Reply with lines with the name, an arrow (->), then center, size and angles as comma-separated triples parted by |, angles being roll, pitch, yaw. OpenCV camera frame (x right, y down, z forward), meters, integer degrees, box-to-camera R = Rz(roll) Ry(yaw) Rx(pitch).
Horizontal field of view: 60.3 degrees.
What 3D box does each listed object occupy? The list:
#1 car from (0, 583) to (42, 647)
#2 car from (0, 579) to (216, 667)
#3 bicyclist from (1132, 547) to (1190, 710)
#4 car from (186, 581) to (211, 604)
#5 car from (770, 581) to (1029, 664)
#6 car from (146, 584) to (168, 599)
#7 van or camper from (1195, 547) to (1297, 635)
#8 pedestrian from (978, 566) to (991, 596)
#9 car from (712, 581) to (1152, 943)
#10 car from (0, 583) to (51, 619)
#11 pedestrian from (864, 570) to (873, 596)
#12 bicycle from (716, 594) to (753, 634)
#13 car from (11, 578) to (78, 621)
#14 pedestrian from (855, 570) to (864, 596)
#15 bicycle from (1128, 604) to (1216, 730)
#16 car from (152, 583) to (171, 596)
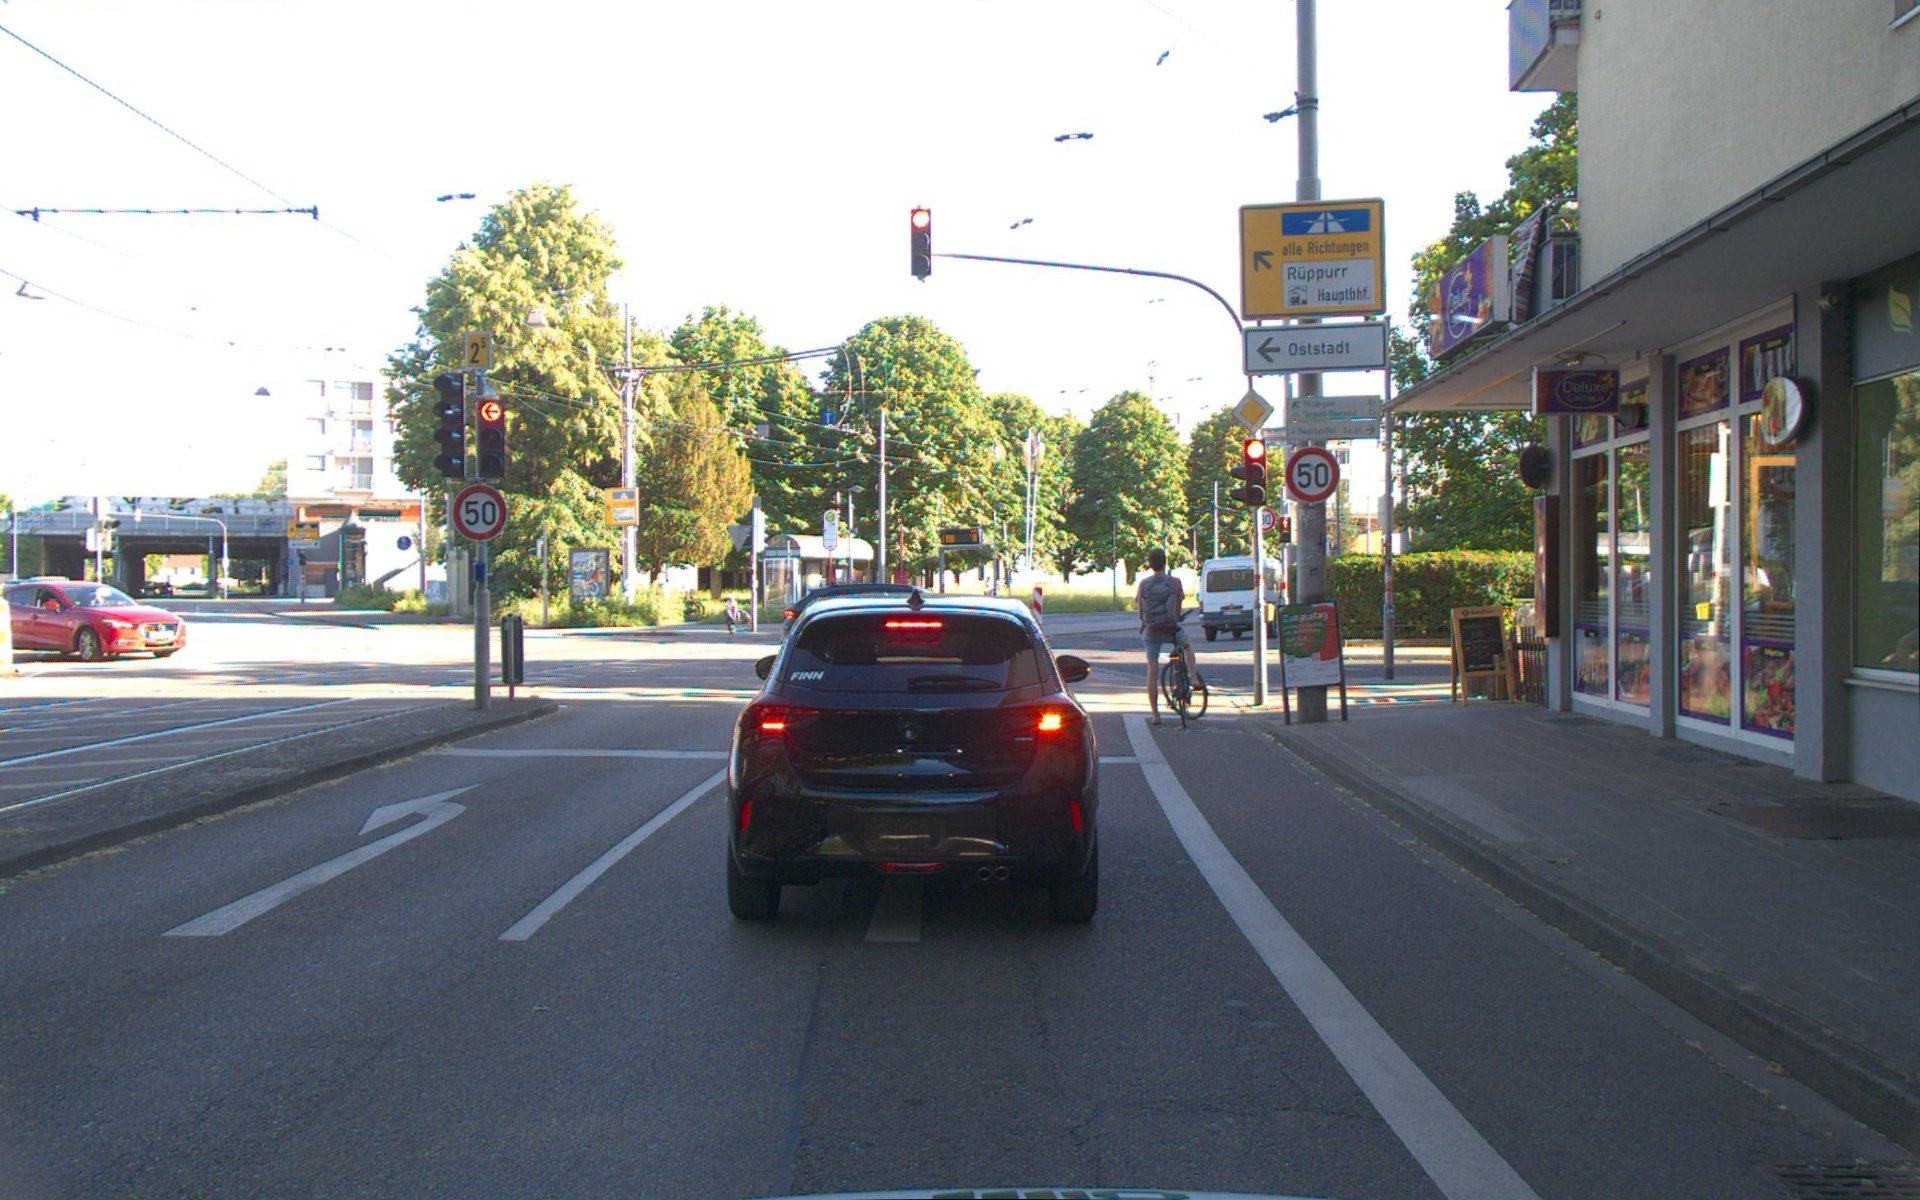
car -> -25.194, 0.352, 40.667 | 1.961, 1.579, 4.174 | 1, 0, 40
car -> -16.804, 0.398, 31.825 | 4.384, 1.592, 2.023 | 0, 1, 21
bicyclist -> 2.167, 0.295, 17.814 | 0.522, 1.722, 0.568 | 0, 0, 16
car -> -59.251, -0.570, 128.776 | 1.732, 1.713, 3.712 | 1, 0, -25
car -> -1.067, 0.390, 30.881 | 4.626, 1.499, 1.941 | 0, 1, 4
car -> -72.528, -0.772, 149.403 | 1.562, 1.282, 3.394 | -1, 1, -30
van or camper -> 8.085, -0.224, 46.465 | 1.987, 2.351, 4.540 | 1, 0, 20
pedestrian -> 1.551, -1.185, 105.479 | 0.597, 1.904, 0.514 | 1, -1, -31
car -> -0.142, 0.649, 8.803 | 1.803, 1.487, 3.983 | 0, 1, -1
car -> -43.521, 0.024, 76.885 | 1.860, 1.613, 3.809 | 1, 0, -24
pedestrian -> -6.718, -1.260, 121.631 | 0.592, 1.904, 0.519 | 1, -1, -7
bicycle -> -6.281, 0.379, 46.168 | 0.780, 1.083, 2.184 | 0, 1, -1
car -> -35.412, -0.015, 64.062 | 1.860, 1.613, 3.809 | 1, 0, -24
pedestrian -> -7.464, -1.268, 122.853 | 0.592, 1.904, 0.519 | 1, -1, -7
bicycle -> 2.326, 0.690, 17.960 | 0.737, 1.256, 2.017 | 0, 1, 14
car -> -84.543, -1.099, 175.102 | 1.562, 1.282, 3.394 | -1, 1, -30
